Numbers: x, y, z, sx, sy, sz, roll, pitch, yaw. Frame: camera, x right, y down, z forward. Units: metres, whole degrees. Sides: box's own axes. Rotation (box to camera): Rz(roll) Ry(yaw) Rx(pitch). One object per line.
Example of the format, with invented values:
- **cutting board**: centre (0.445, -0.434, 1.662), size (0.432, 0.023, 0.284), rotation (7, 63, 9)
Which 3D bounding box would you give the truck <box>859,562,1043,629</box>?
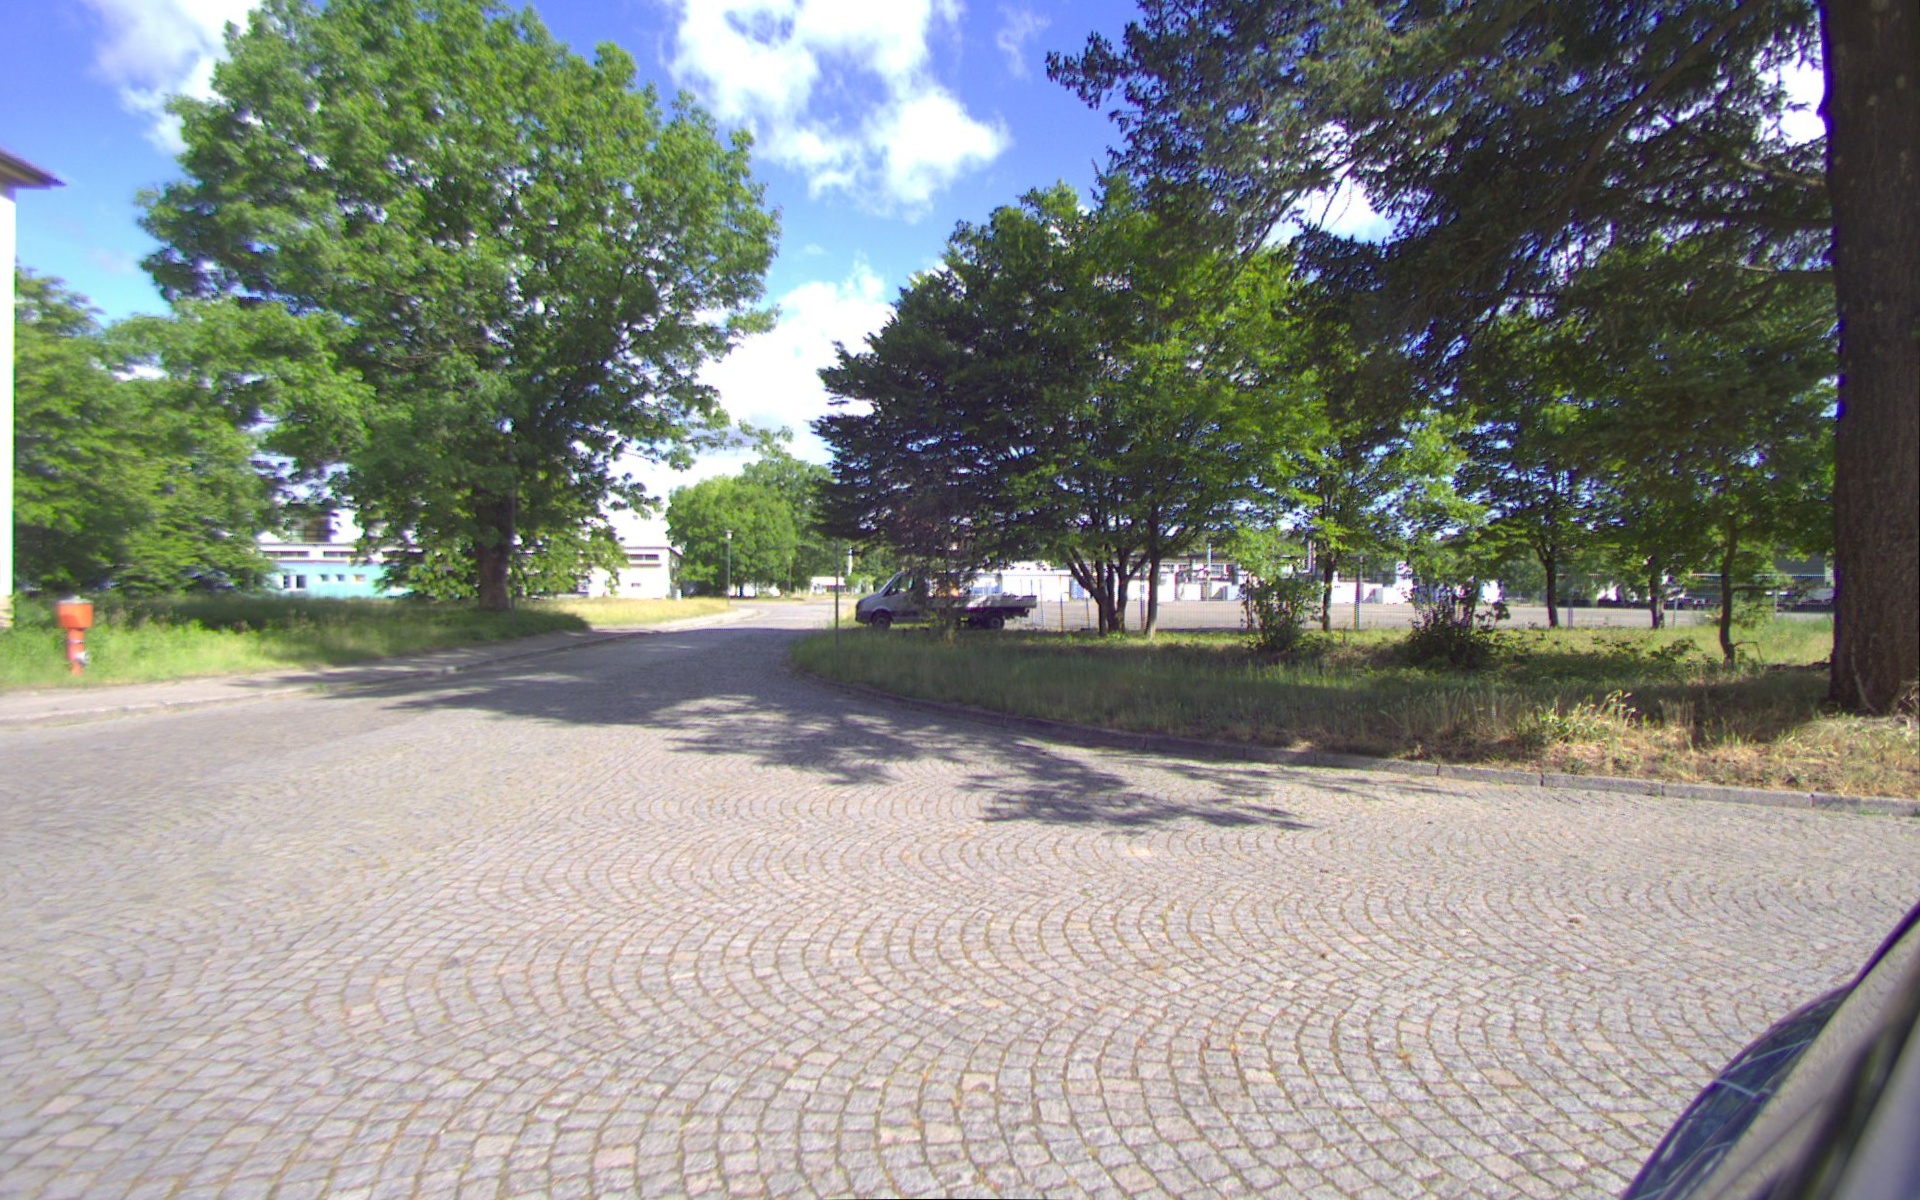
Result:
- **truck**: centre (-0.415, -0.140, 38.281), size (6.749, 2.455, 2.242), rotation (0, -1, -5)
